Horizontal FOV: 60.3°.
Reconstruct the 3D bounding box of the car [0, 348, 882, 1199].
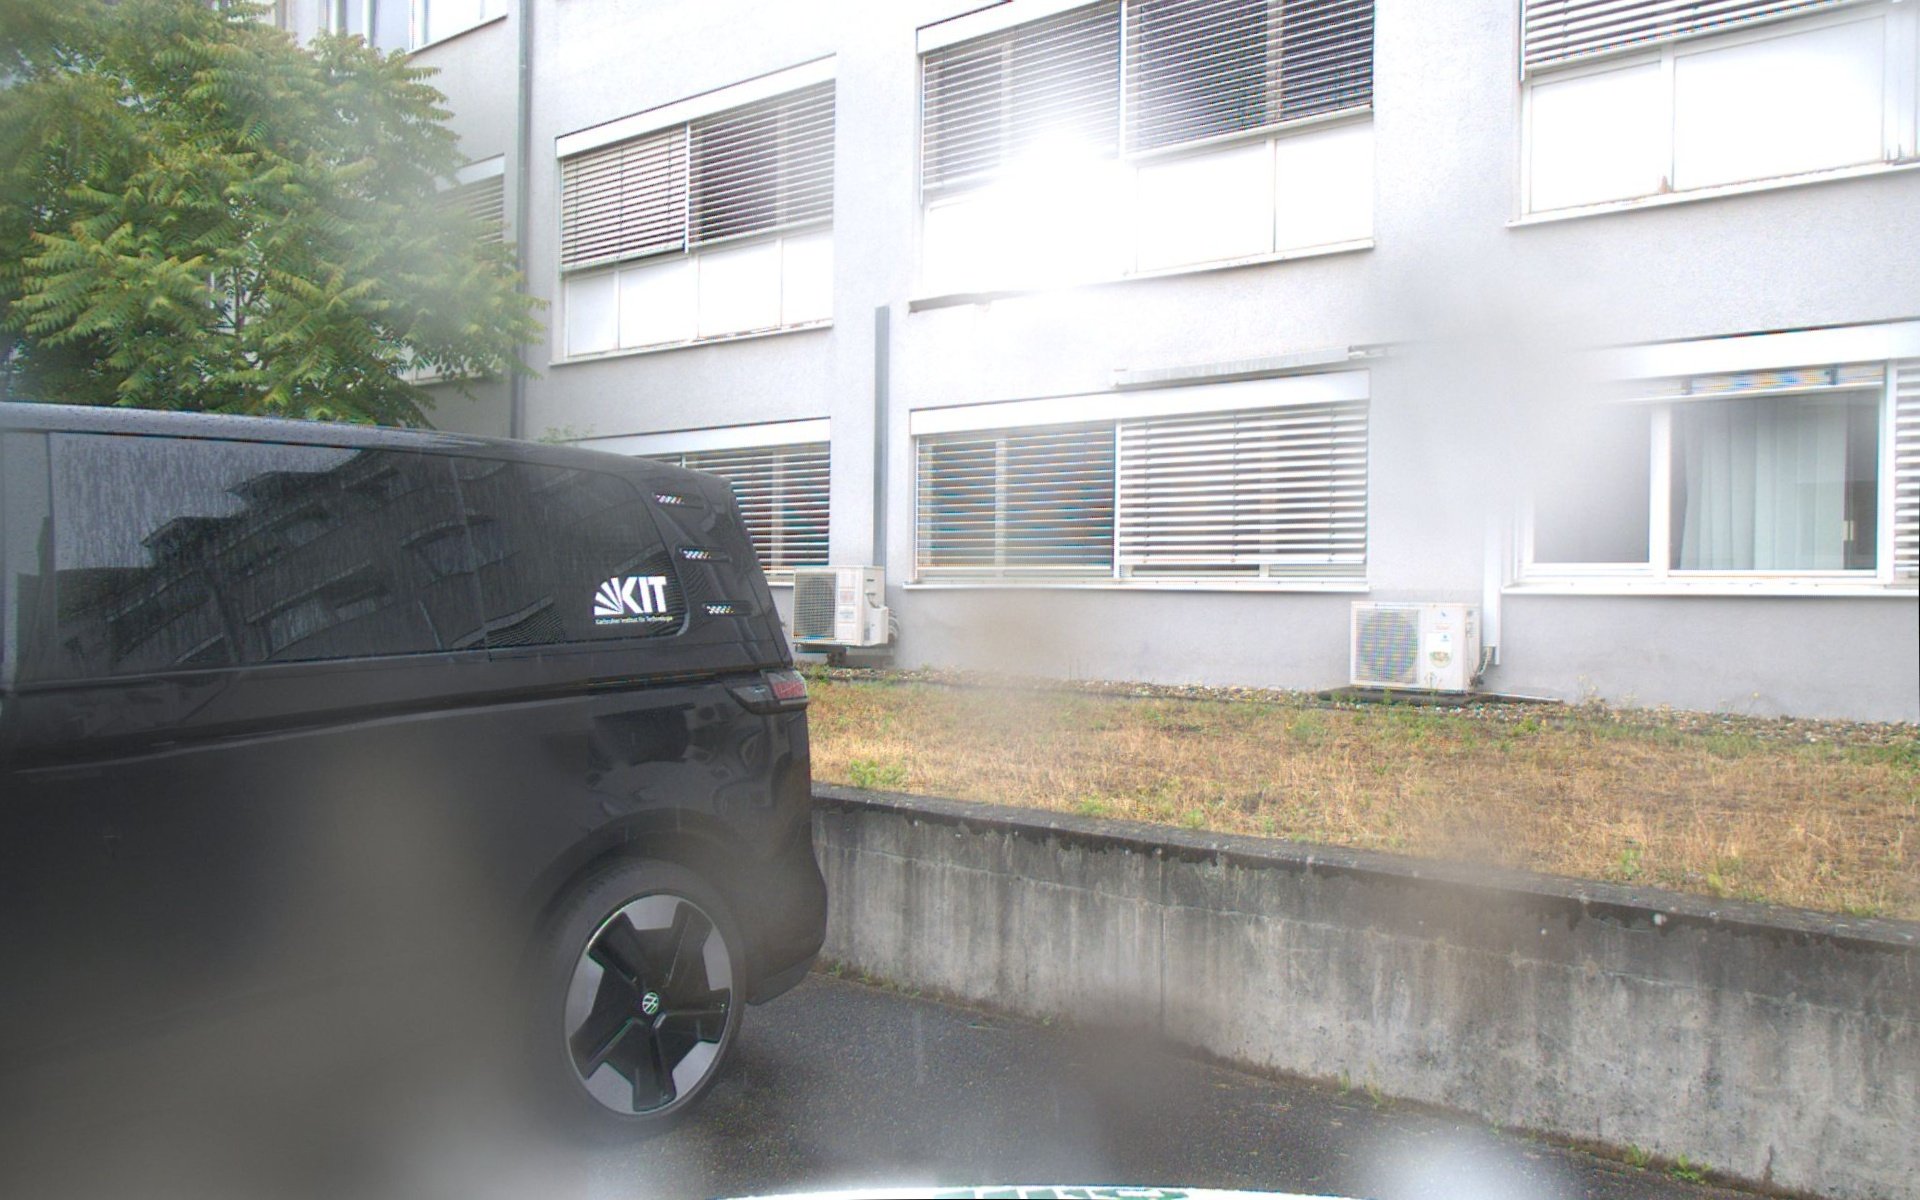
[{"bbox_3d":[-2.423,0.498,3.904,2.008,1.930,4.499,0,0,39],"label":"car"}]
